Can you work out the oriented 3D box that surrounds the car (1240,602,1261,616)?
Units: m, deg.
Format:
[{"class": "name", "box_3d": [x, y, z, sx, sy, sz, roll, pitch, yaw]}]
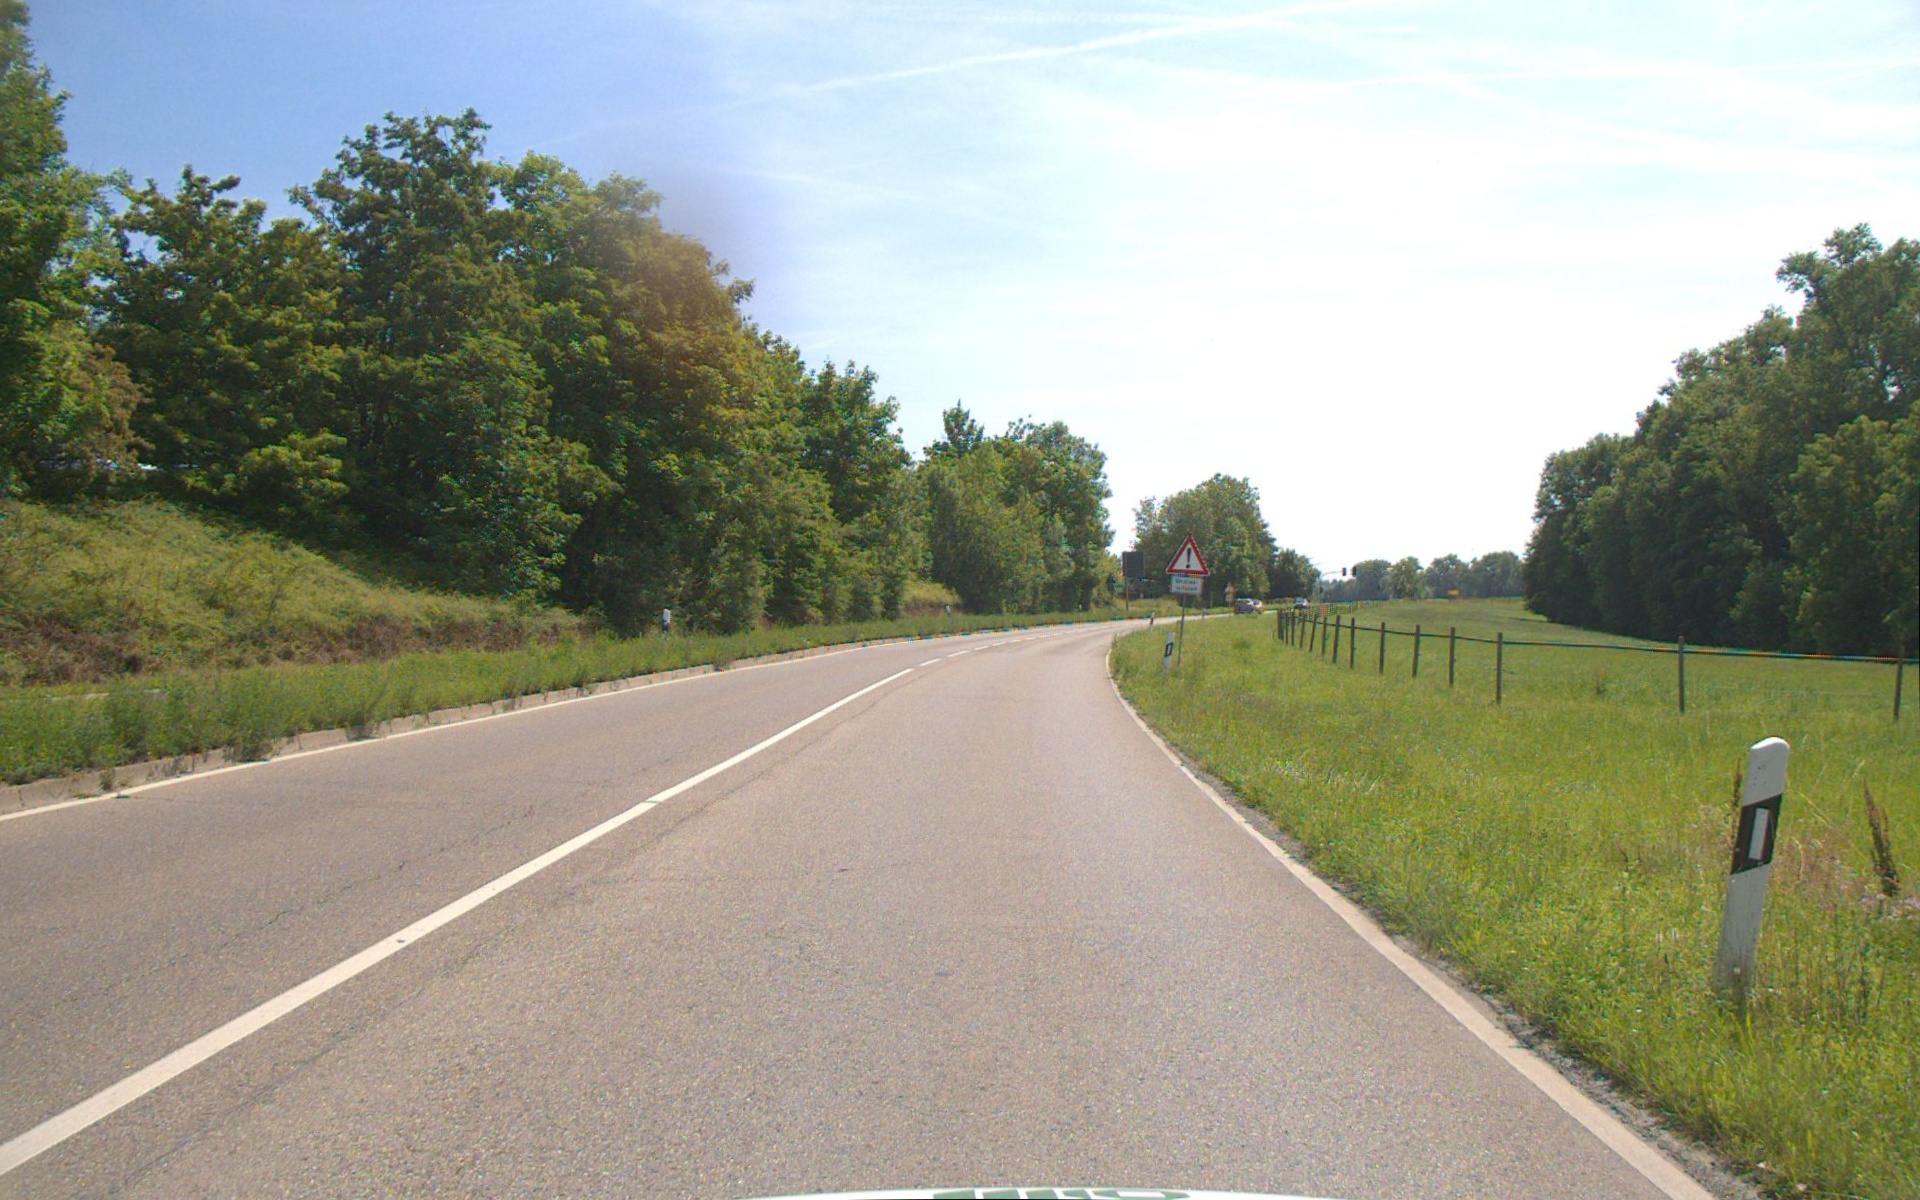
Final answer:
[{"class": "car", "box_3d": [33.042, 0.978, 187.942, 1.783, 1.494, 4.002, 2, 0, 17]}]

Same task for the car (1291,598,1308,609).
[{"class": "car", "box_3d": [47.790, 0.485, 232.603, 1.783, 1.494, 4.001, 2, 0, 19]}]

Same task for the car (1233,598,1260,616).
[{"class": "car", "box_3d": [26.953, 0.700, 155.496, 1.952, 1.601, 4.001, 2, 0, 18]}]
